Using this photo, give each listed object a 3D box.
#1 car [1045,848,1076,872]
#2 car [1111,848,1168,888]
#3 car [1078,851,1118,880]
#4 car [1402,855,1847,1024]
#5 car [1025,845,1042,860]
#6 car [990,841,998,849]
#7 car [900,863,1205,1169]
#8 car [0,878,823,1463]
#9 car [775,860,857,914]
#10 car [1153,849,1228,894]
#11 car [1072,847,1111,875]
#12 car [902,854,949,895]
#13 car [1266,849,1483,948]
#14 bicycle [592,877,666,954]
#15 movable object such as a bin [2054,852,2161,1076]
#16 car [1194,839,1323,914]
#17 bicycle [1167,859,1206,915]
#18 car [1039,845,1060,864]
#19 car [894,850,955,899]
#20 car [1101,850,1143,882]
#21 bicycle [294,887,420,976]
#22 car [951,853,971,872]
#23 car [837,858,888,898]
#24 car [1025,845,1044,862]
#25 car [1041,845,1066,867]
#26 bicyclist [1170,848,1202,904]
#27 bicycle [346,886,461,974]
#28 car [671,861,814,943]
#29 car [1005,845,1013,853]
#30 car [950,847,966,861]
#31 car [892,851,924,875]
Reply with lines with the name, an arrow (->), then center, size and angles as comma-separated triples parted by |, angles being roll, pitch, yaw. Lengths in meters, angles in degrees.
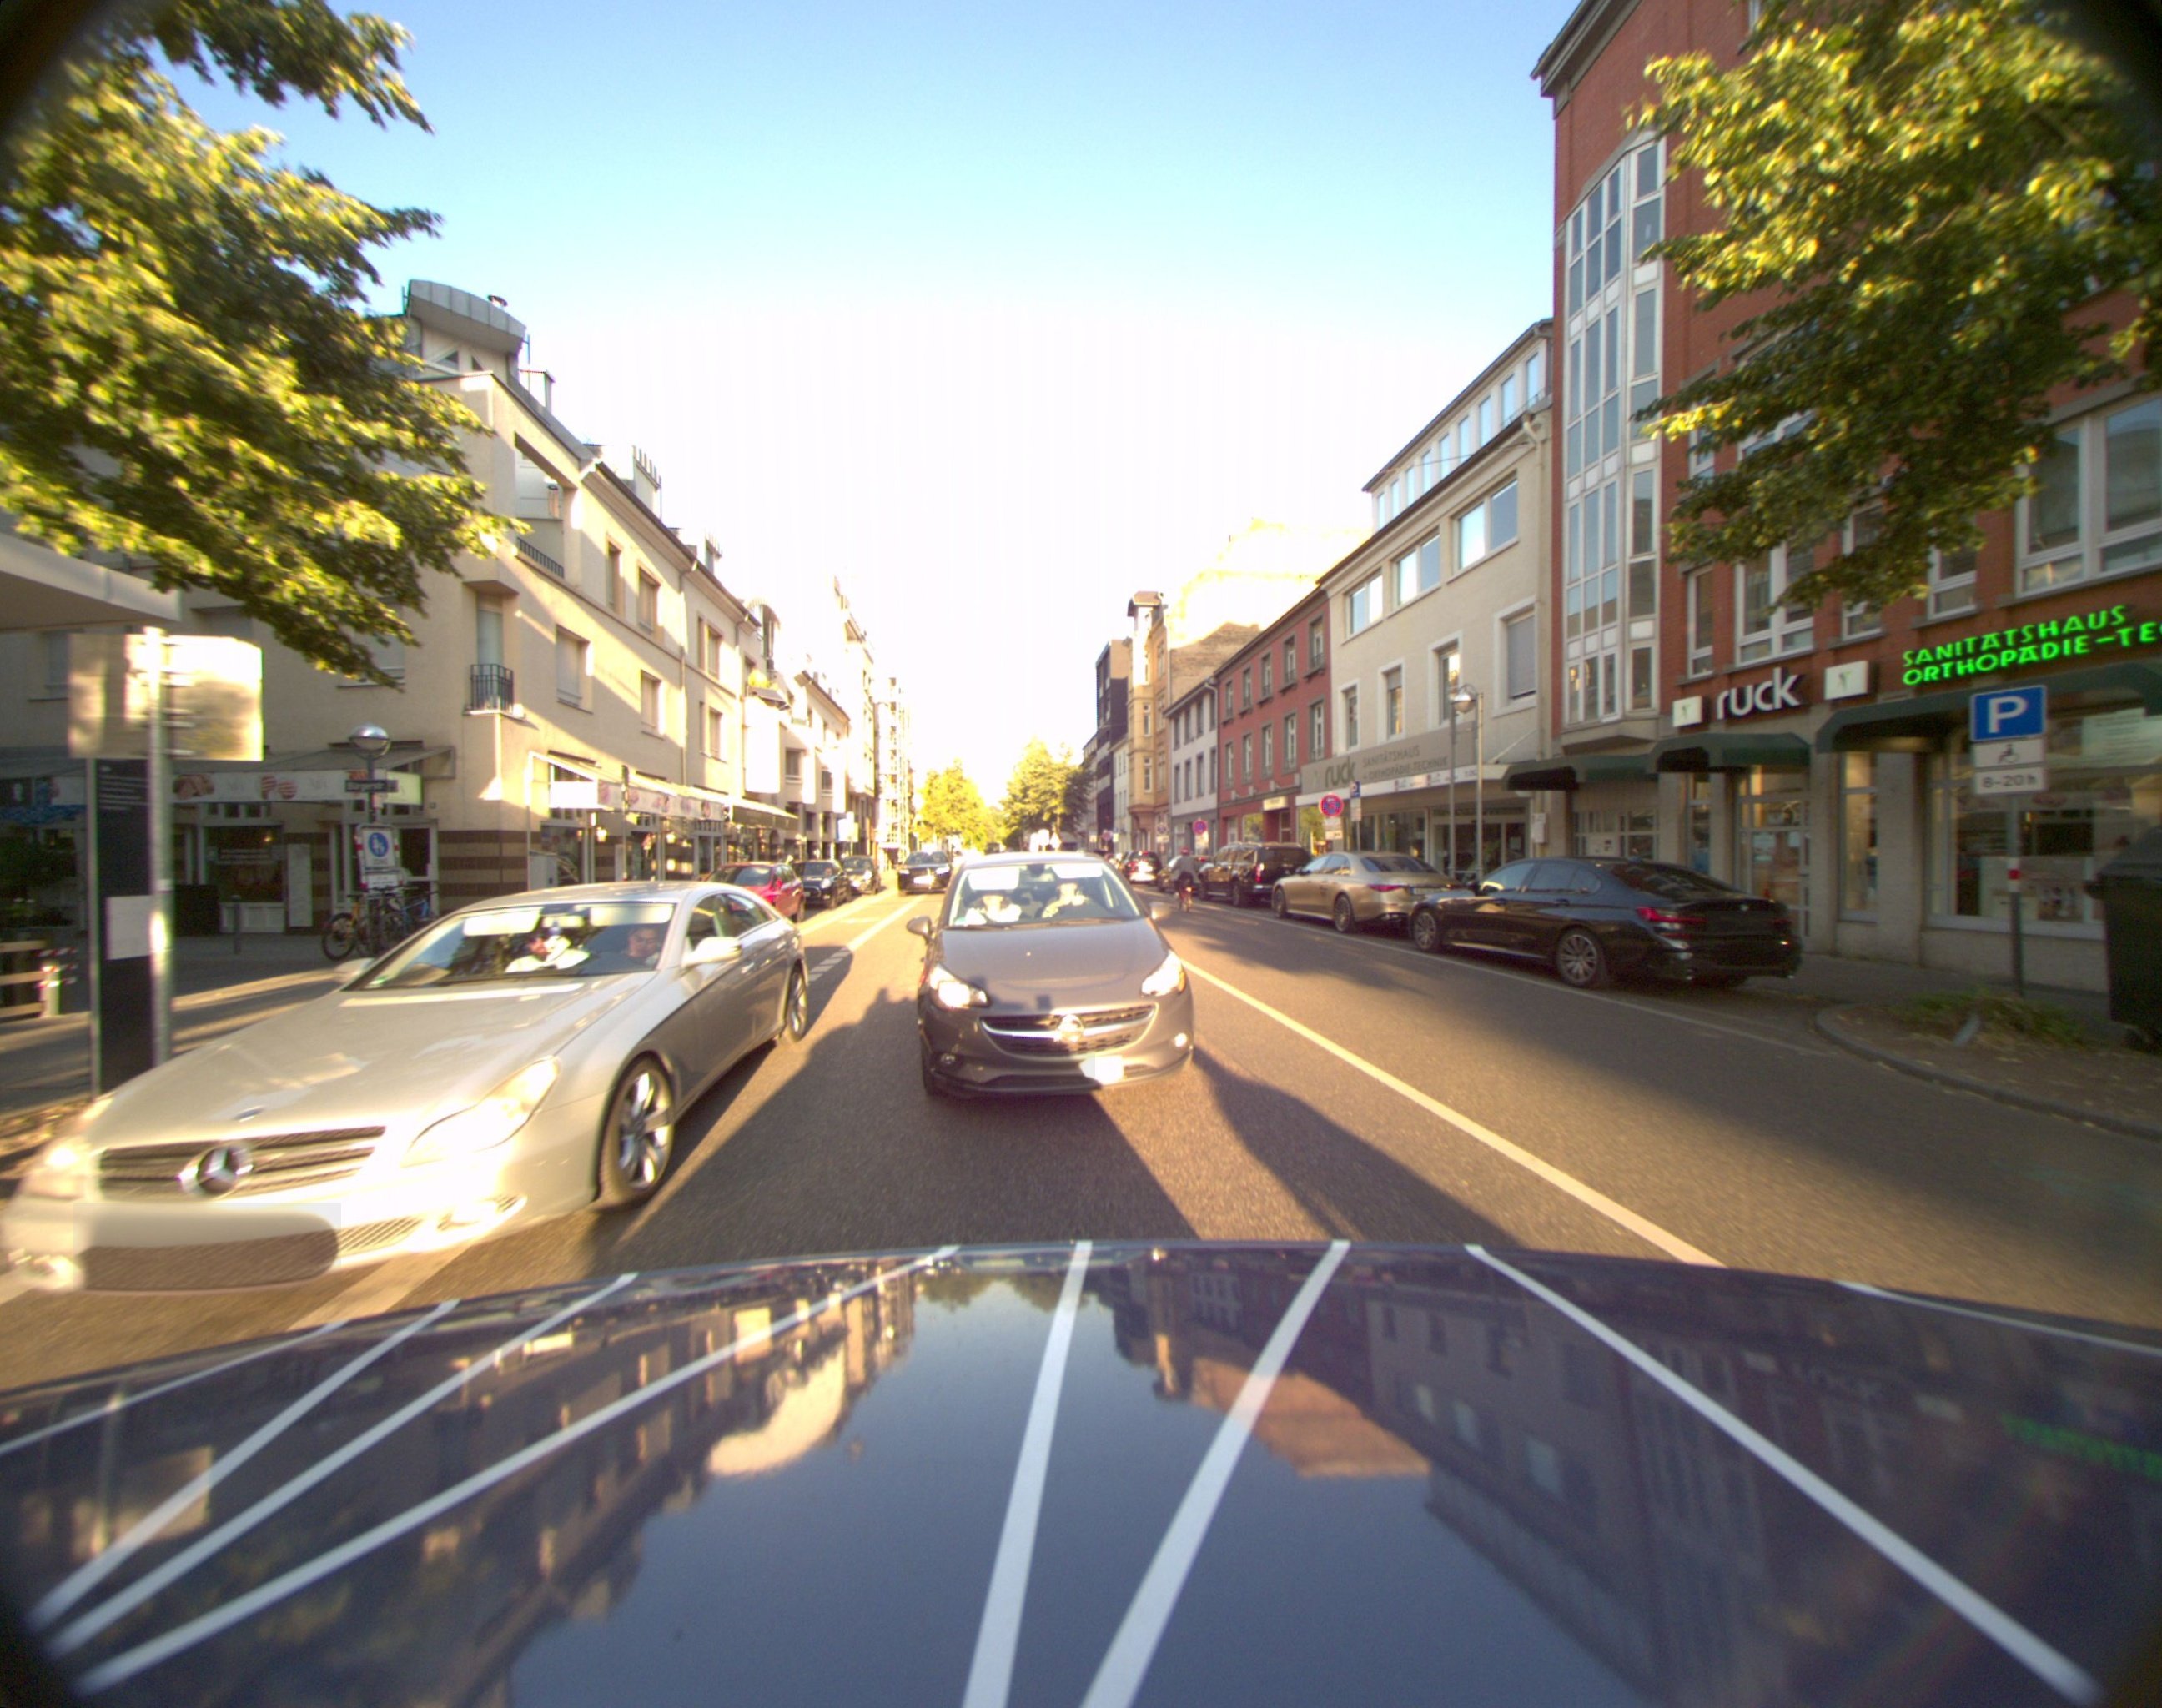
car -> -1.542, 0.429, 56.157 | 1.796, 1.606, 3.969 | -3, 2, -7
car -> 2.725, 0.612, 36.245 | 1.877, 1.718, 4.137 | -1, 1, -7
car -> 0.971, 0.650, 45.148 | 1.792, 1.504, 3.775 | -2, 1, -7
car -> 5.941, 0.776, 9.150 | 1.805, 1.385, 4.413 | -1, 1, -8
car -> -5.789, -0.144, 91.740 | 1.766, 1.762, 3.869 | 0, 1, -7
car -> -18.473, -1.961, 161.817 | 1.673, 1.630, 3.253 | -3, 2, -6
car -> -0.456, 0.850, 5.893 | 1.588, 1.445, 3.838 | -1, 1, -10
car -> -2.965, 0.970, 4.417 | 1.791, 1.361, 4.569 | -3, 1, -7
car -> -7.959, 0.923, 23.103 | 1.615, 1.386, 3.692 | -3, 1, -9
car -> 3.895, 0.584, 27.696 | 1.737, 1.516, 3.839 | -1, 1, -7
car -> 0.640, 0.409, 49.166 | 1.882, 1.667, 4.033 | -3, 2, -7
car -> -6.602, 0.823, 32.540 | 1.692, 1.534, 3.728 | -3, 2, -9
car -> 5.392, 0.705, 14.817 | 1.896, 1.590, 4.941 | 0, 0, -6
bicycle -> -8.117, 1.064, 13.712 | 0.505, 1.231, 1.711 | 0, 1, -8
movable object such as a bin -> 7.859, 0.765, 5.281 | 0.748, 1.526, 1.100 | -3, 1, -7
car -> 4.859, 0.568, 21.658 | 1.974, 1.873, 4.944 | -1, 0, -7
bicycle -> 2.547, 0.779, 18.549 | 0.421, 1.230, 1.692 | -3, 2, -9
car -> -3.079, 0.035, 73.546 | 1.766, 1.762, 3.869 | 0, 1, -7
car -> -5.782, 0.714, 28.477 | 1.897, 1.633, 3.746 | -1, 1, -7
car -> 2.175, 0.594, 41.374 | 1.686, 1.581, 3.513 | -1, 1, -7
bicycle -> -11.006, 1.127, 11.638 | 0.332, 1.123, 2.010 | -1, 1, -11
car -> -11.577, 0.781, 73.623 | 1.693, 1.645, 3.730 | -3, 2, -7
car -> -8.668, 0.910, 30.341 | 1.432, 1.443, 3.378 | -2, 1, -8
car -> -5.057, -0.045, 82.118 | 1.788, 1.762, 3.869 | 0, 1, -7
car -> -2.322, 0.144, 62.923 | 1.766, 1.762, 3.869 | 0, 1, -7
bicyclist -> 2.547, 0.520, 18.489 | 0.569, 1.295, 0.660 | -3, 2, -8
bicycle -> -10.402, 1.118, 11.754 | 0.332, 1.123, 2.010 | 0, 1, -11
car -> -7.090, 0.926, 16.349 | 1.654, 1.420, 3.997 | -3, 1, -7
car -> -19.028, -1.368, 200.916 | 1.846, 1.796, 3.582 | -2, 2, -2
car -> -14.807, -0.020, 91.475 | 1.766, 1.623, 3.869 | 0, 1, -7
car -> -11.926, 0.583, 52.689 | 1.766, 1.563, 3.869 | -1, 1, -7
